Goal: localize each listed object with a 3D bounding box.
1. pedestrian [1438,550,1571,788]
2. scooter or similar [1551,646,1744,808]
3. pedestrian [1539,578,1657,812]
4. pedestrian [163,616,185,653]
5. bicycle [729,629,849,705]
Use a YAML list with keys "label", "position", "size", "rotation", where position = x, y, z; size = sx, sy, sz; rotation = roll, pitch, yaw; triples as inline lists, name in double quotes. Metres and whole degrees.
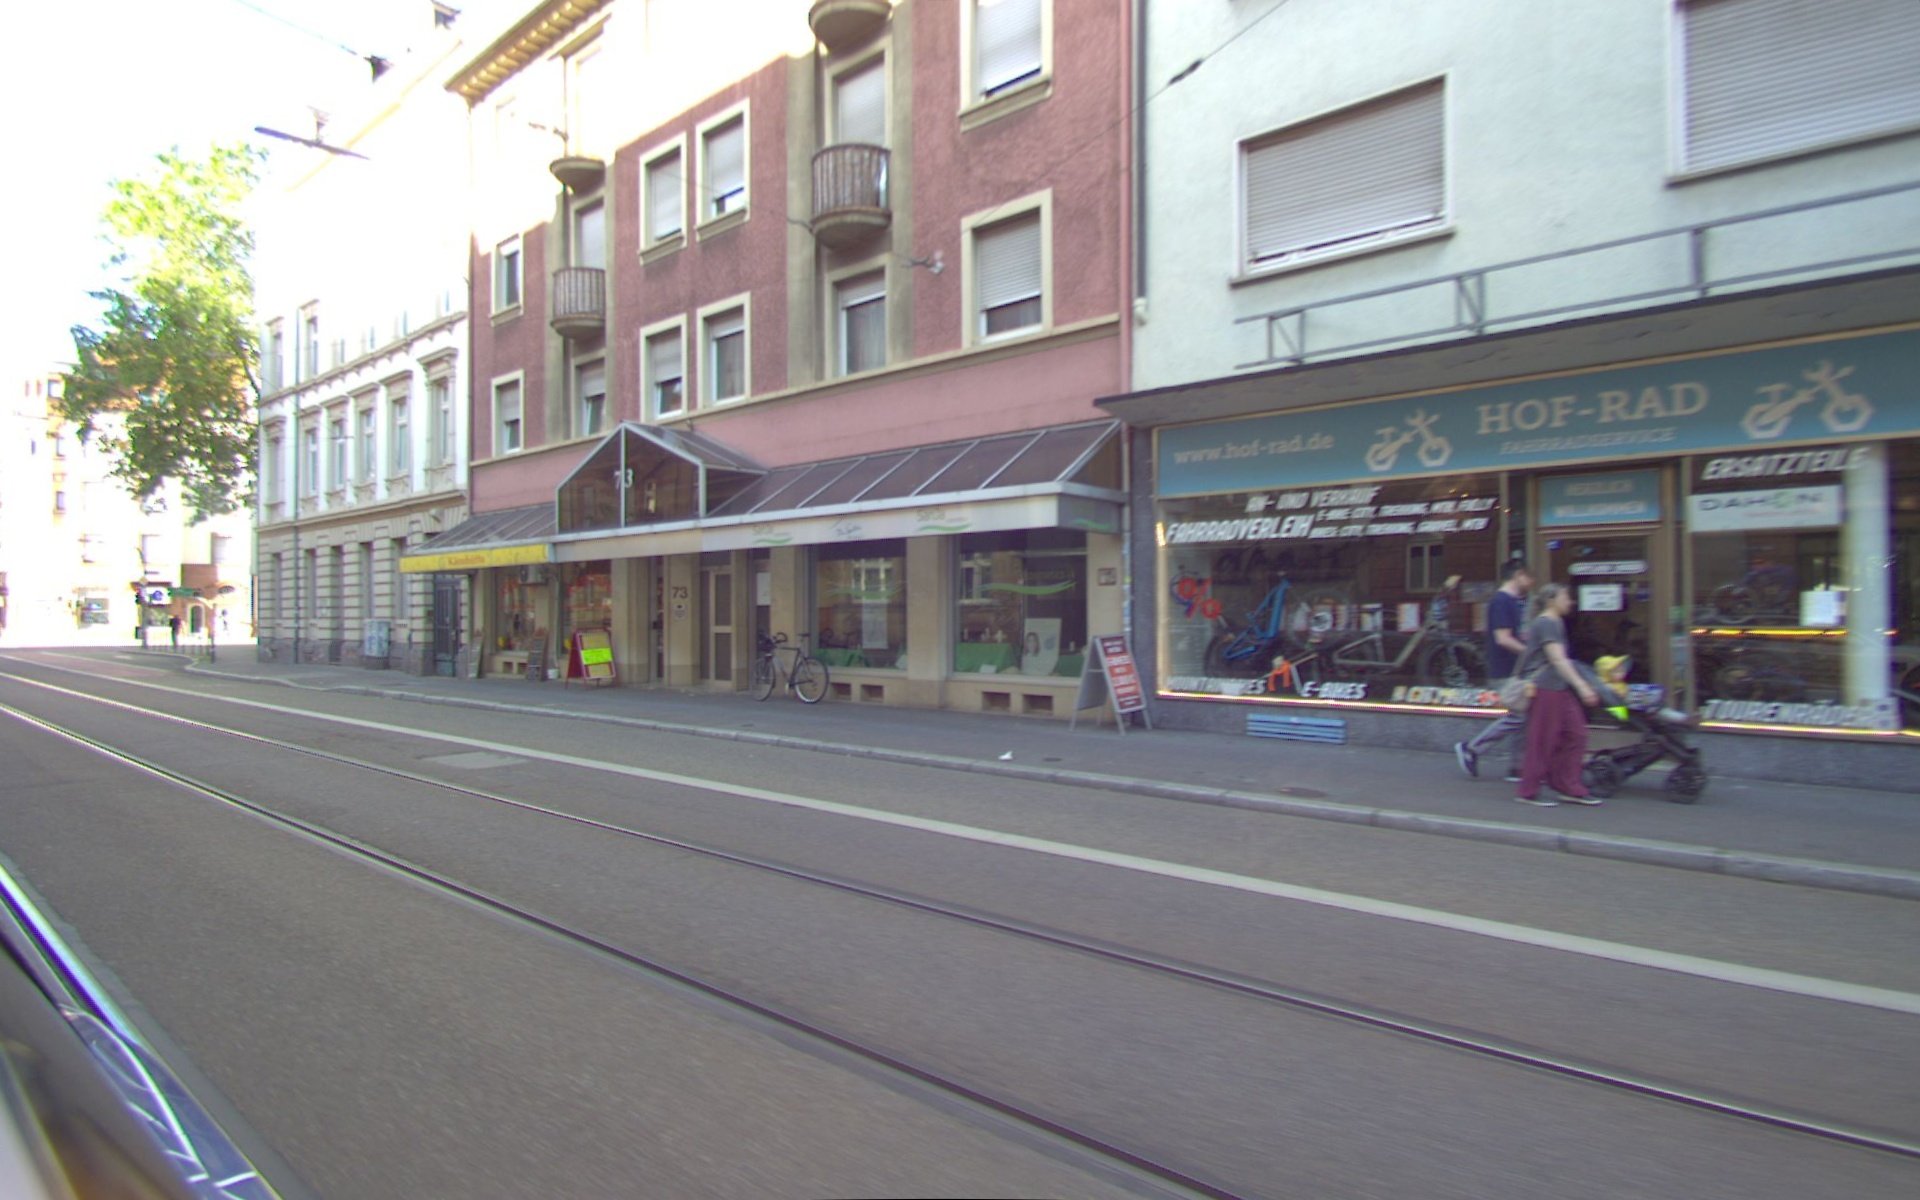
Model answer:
- label: "pedestrian"
  position: [4.396, 0.528, 8.174]
  size: [0.820, 1.803, 0.619]
  rotation: [-1, 0, 40]
- label: "scooter or similar"
  position: [5.133, 0.901, 7.573]
  size: [1.104, 1.069, 0.655]
  rotation: [-2, -1, 41]
- label: "pedestrian"
  position: [4.554, 0.636, 7.217]
  size: [0.623, 1.560, 0.629]
  rotation: [-1, 0, 40]
- label: "pedestrian"
  position: [-40.176, 1.741, 51.710]
  size: [0.809, 1.861, 0.784]
  rotation: [-1, 0, 43]
- label: "bicycle"
  position: [-2.675, 1.005, 15.606]
  size: [2.328, 1.068, 0.420]
  rotation: [-1, 0, 41]
